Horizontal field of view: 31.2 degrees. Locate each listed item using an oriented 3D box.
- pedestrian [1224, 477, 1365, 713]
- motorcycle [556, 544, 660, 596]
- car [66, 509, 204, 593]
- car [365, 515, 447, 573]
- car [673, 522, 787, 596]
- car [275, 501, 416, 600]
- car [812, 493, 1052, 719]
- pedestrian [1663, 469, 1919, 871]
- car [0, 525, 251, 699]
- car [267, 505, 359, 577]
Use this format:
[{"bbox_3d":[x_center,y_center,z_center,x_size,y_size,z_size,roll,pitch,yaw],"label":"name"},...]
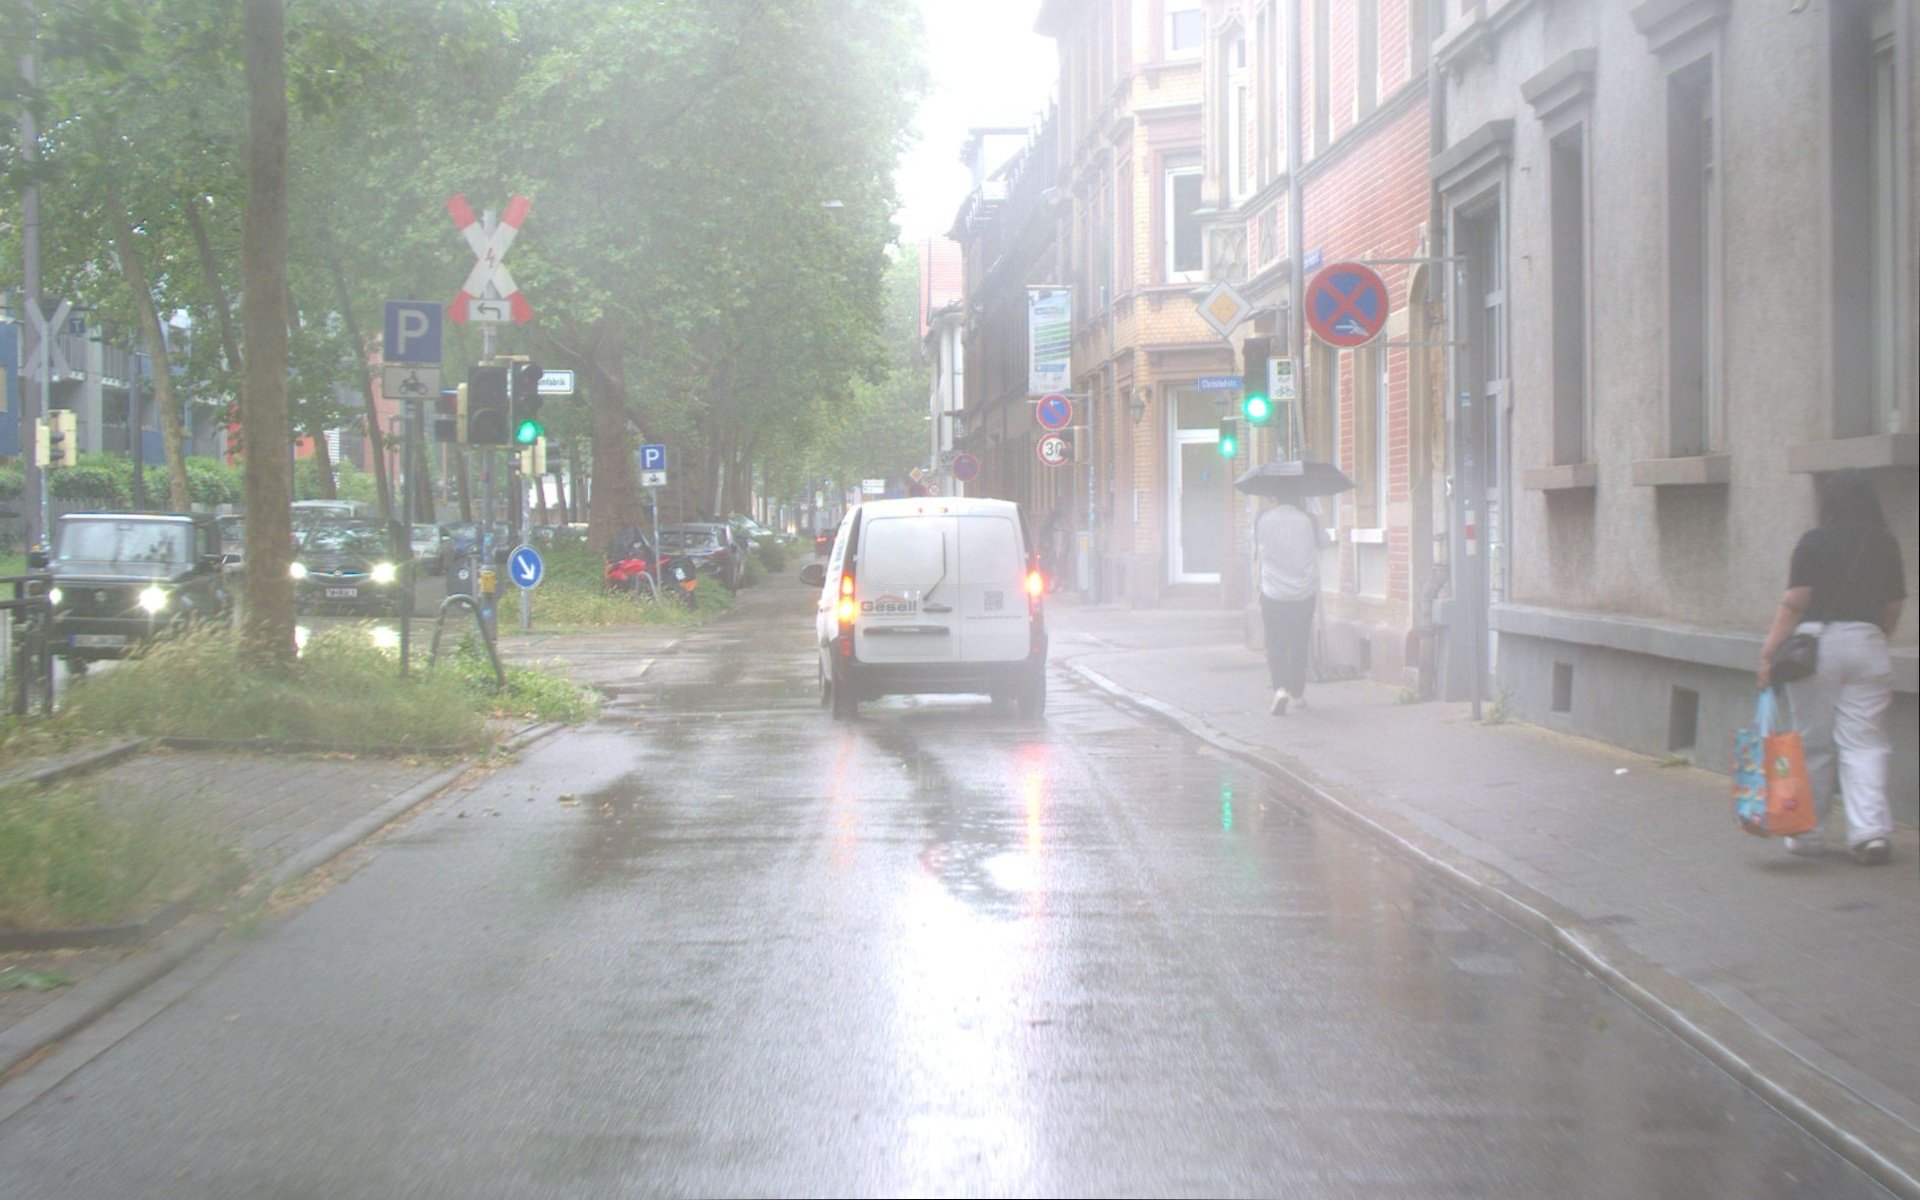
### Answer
[{"bbox_3d":[2.538,-0.048,26.188,0.840,1.710,1.108,-4,1,-1],"label":"pedestrian"},{"bbox_3d":[-6.000,-0.514,58.645,1.706,0.862,0.577,0,1,3],"label":"motorcycle"},{"bbox_3d":[-14.336,-0.876,59.897,1.993,1.410,4.001,0,1,-8],"label":"car"},{"bbox_3d":[-15.706,-1.598,97.609,1.997,1.607,4.124,0,1,-5],"label":"car"},{"bbox_3d":[-4.458,-0.826,67.185,1.993,1.382,4.000,0,1,-1],"label":"car"},{"bbox_3d":[-10.344,-0.856,58.113,1.997,1.607,4.124,0,1,-5],"label":"car"},{"bbox_3d":[-0.267,0.041,29.322,1.903,1.791,4.113,0,0,-1],"label":"car"},{"bbox_3d":[3.394,0.252,13.756,0.840,1.506,1.108,-3,1,-1],"label":"pedestrian"},{"bbox_3d":[-8.364,0.073,34.106,1.997,1.607,4.001,0,1,-3],"label":"car"},{"bbox_3d":[-14.602,-1.354,77.618,1.993,1.575,4.001,0,2,-11],"label":"car"}]
